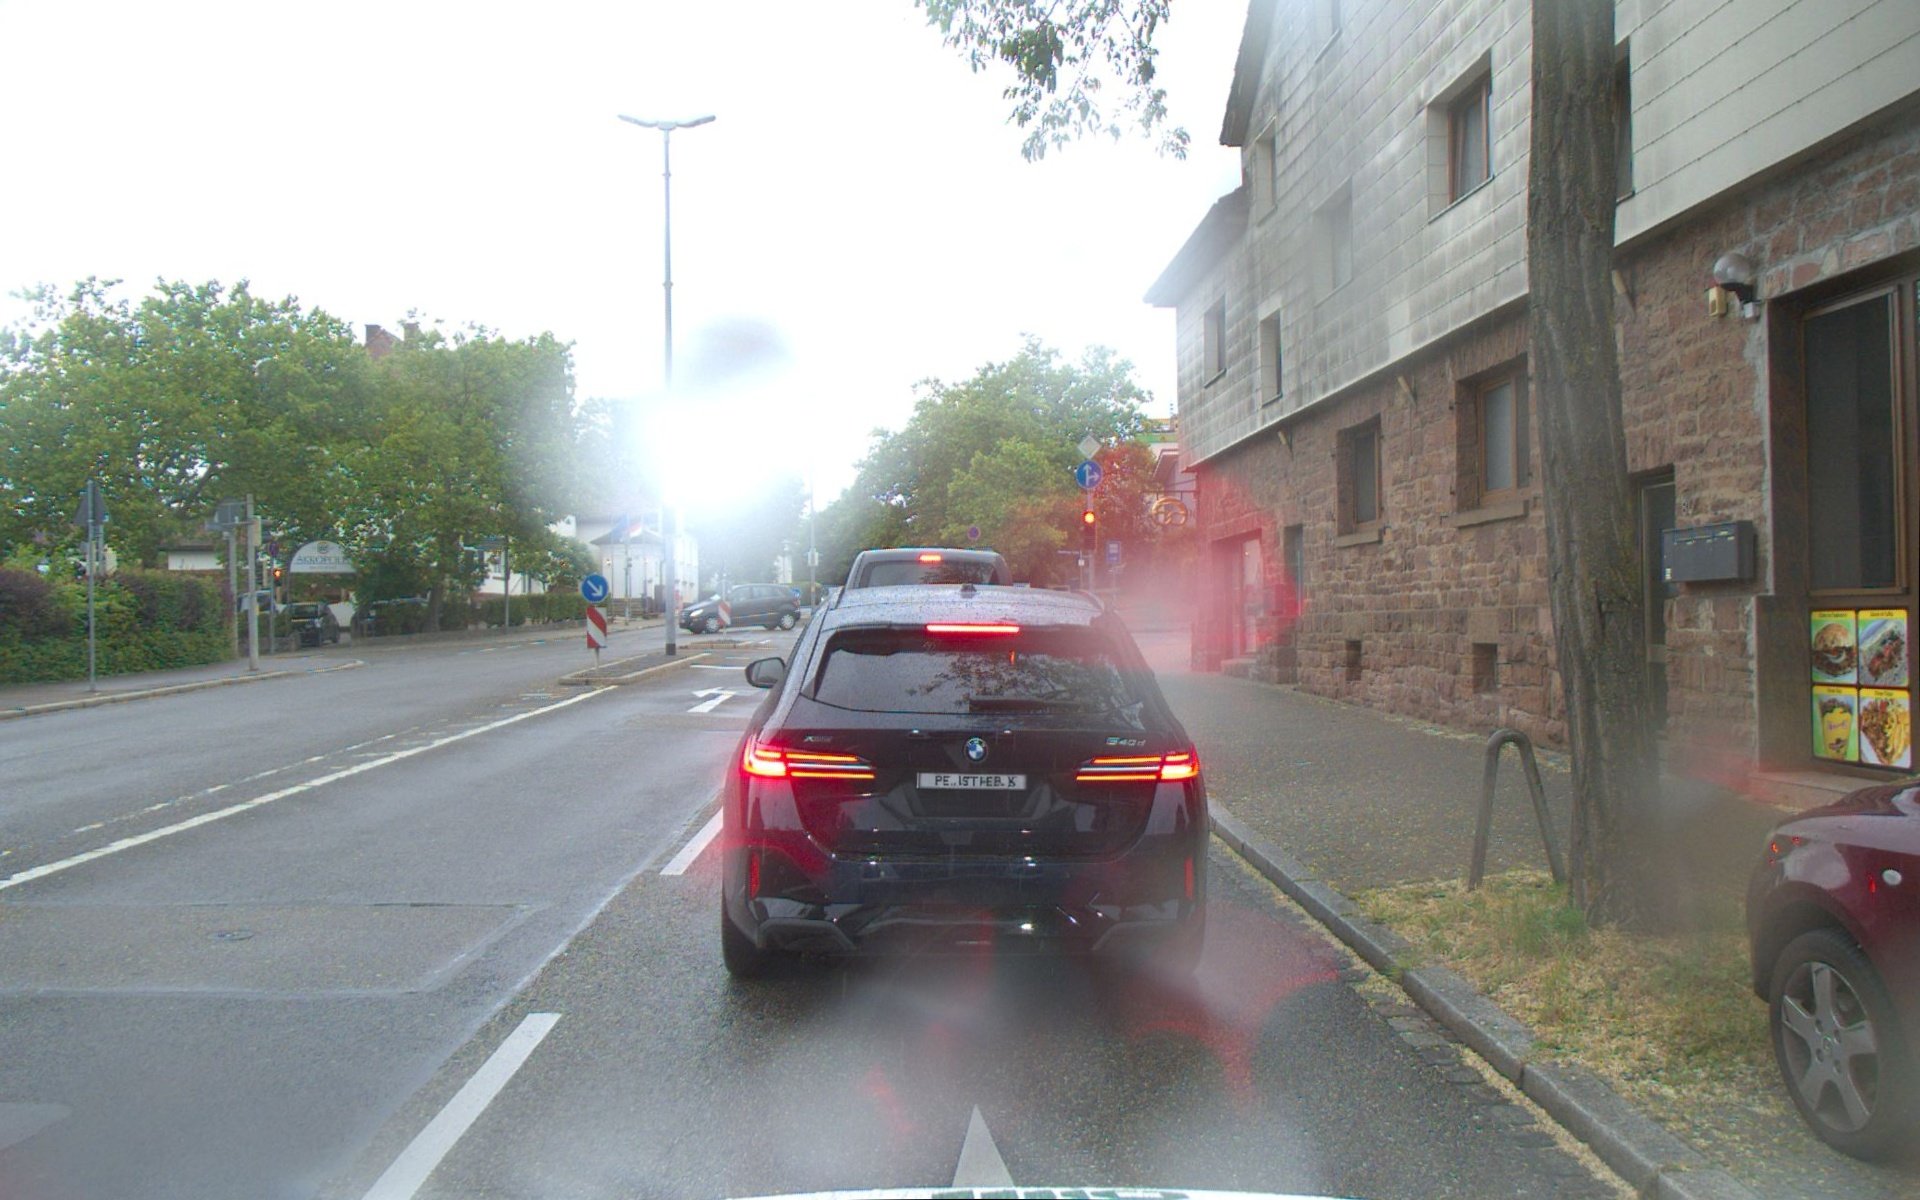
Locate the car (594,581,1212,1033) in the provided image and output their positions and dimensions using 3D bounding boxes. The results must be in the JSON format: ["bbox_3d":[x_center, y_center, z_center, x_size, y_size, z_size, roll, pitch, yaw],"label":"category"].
[{"bbox_3d":[-0.302,0.679,7.693,2.023,1.472,4.480,1,0,-3],"label":"car"}]

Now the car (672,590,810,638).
[{"bbox_3d":[-7.591,0.489,57.244,4.402,1.614,2.059,1,0,-20],"label":"car"}]

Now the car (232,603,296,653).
[{"bbox_3d":[-23.895,0.937,56.866,1.966,1.579,3.973,0,1,-22],"label":"car"}]

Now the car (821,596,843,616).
[{"bbox_3d":[-9.454,0.434,122.628,1.435,1.422,3.321,0,1,-1],"label":"car"}]

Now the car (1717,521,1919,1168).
[{"bbox_3d":[3.051,0.542,2.905,1.552,1.516,3.625,-3,1,-4],"label":"car"}]

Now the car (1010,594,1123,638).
[{"bbox_3d":[3.834,0.563,59.865,3.864,1.536,1.998,0,0,-5],"label":"car"}]

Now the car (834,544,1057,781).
[{"bbox_3d":[-0.209,0.465,14.954,1.748,1.849,3.998,0,1,-3],"label":"car"}]
